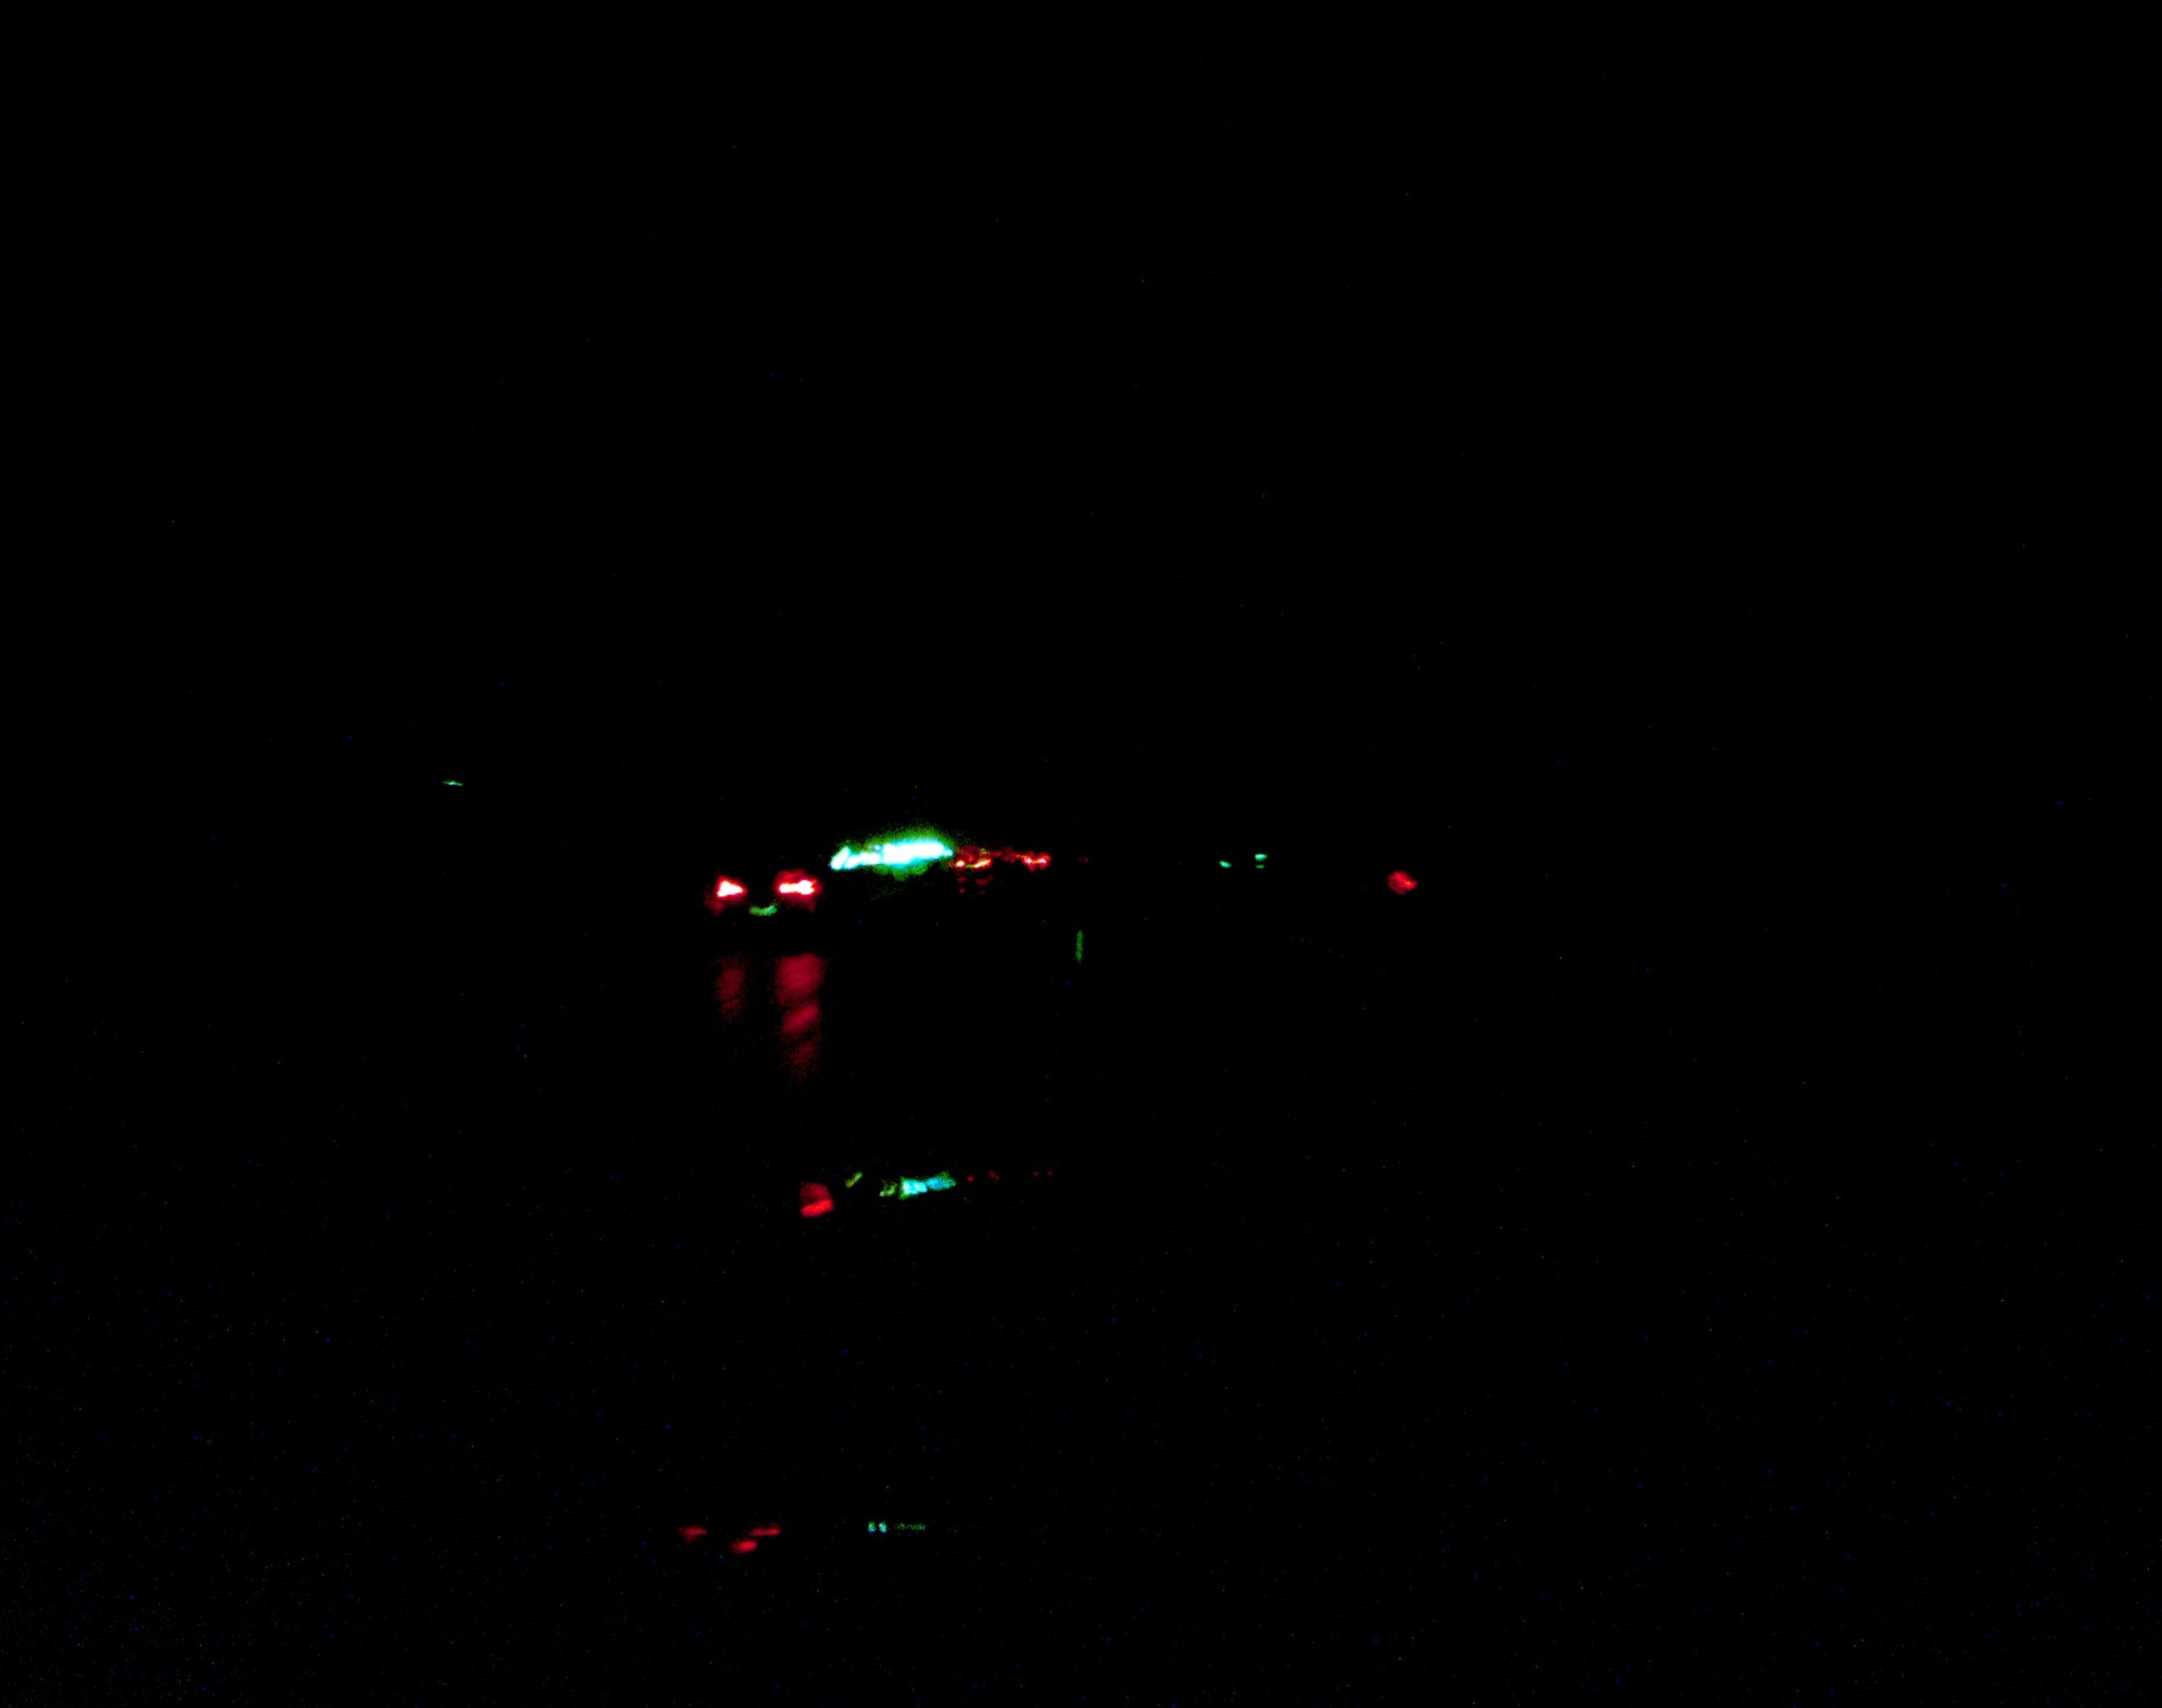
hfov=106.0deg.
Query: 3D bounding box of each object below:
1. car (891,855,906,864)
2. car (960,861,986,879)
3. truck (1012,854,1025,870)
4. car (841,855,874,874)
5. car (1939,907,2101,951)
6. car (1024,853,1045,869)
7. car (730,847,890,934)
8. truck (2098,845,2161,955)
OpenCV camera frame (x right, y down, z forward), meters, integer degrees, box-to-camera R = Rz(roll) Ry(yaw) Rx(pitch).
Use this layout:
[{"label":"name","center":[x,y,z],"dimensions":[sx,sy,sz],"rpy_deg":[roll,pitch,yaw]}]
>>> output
[{"label":"car","center":[-25.743,0.808,115.010],"dimensions":[1.402,1.266,4.064],"rpy_deg":[0,0,-5]},{"label":"car","center":[-7.566,1.123,57.360],"dimensions":[1.660,1.236,3.753],"rpy_deg":[0,-1,-6]},{"label":"truck","center":[-11.990,1.574,155.148],"dimensions":[1.993,3.043,6.445],"rpy_deg":[0,-1,-9]},{"label":"car","center":[-20.374,0.908,74.377],"dimensions":[1.767,1.632,4.699],"rpy_deg":[0,0,-2]},{"label":"car","center":[37.892,2.970,32.982],"dimensions":[1.714,1.294,3.962],"rpy_deg":[0,1,-22]},{"label":"car","center":[-4.428,0.685,77.512],"dimensions":[1.796,1.487,3.999],"rpy_deg":[0,0,0]},{"label":"car","center":[-5.594,0.699,17.523],"dimensions":[1.853,1.541,4.748],"rpy_deg":[3,-1,-1]},{"label":"truck","center":[43.421,1.741,30.515],"dimensions":[2.774,4.223,6.138],"rpy_deg":[0,-2,-28]}]
